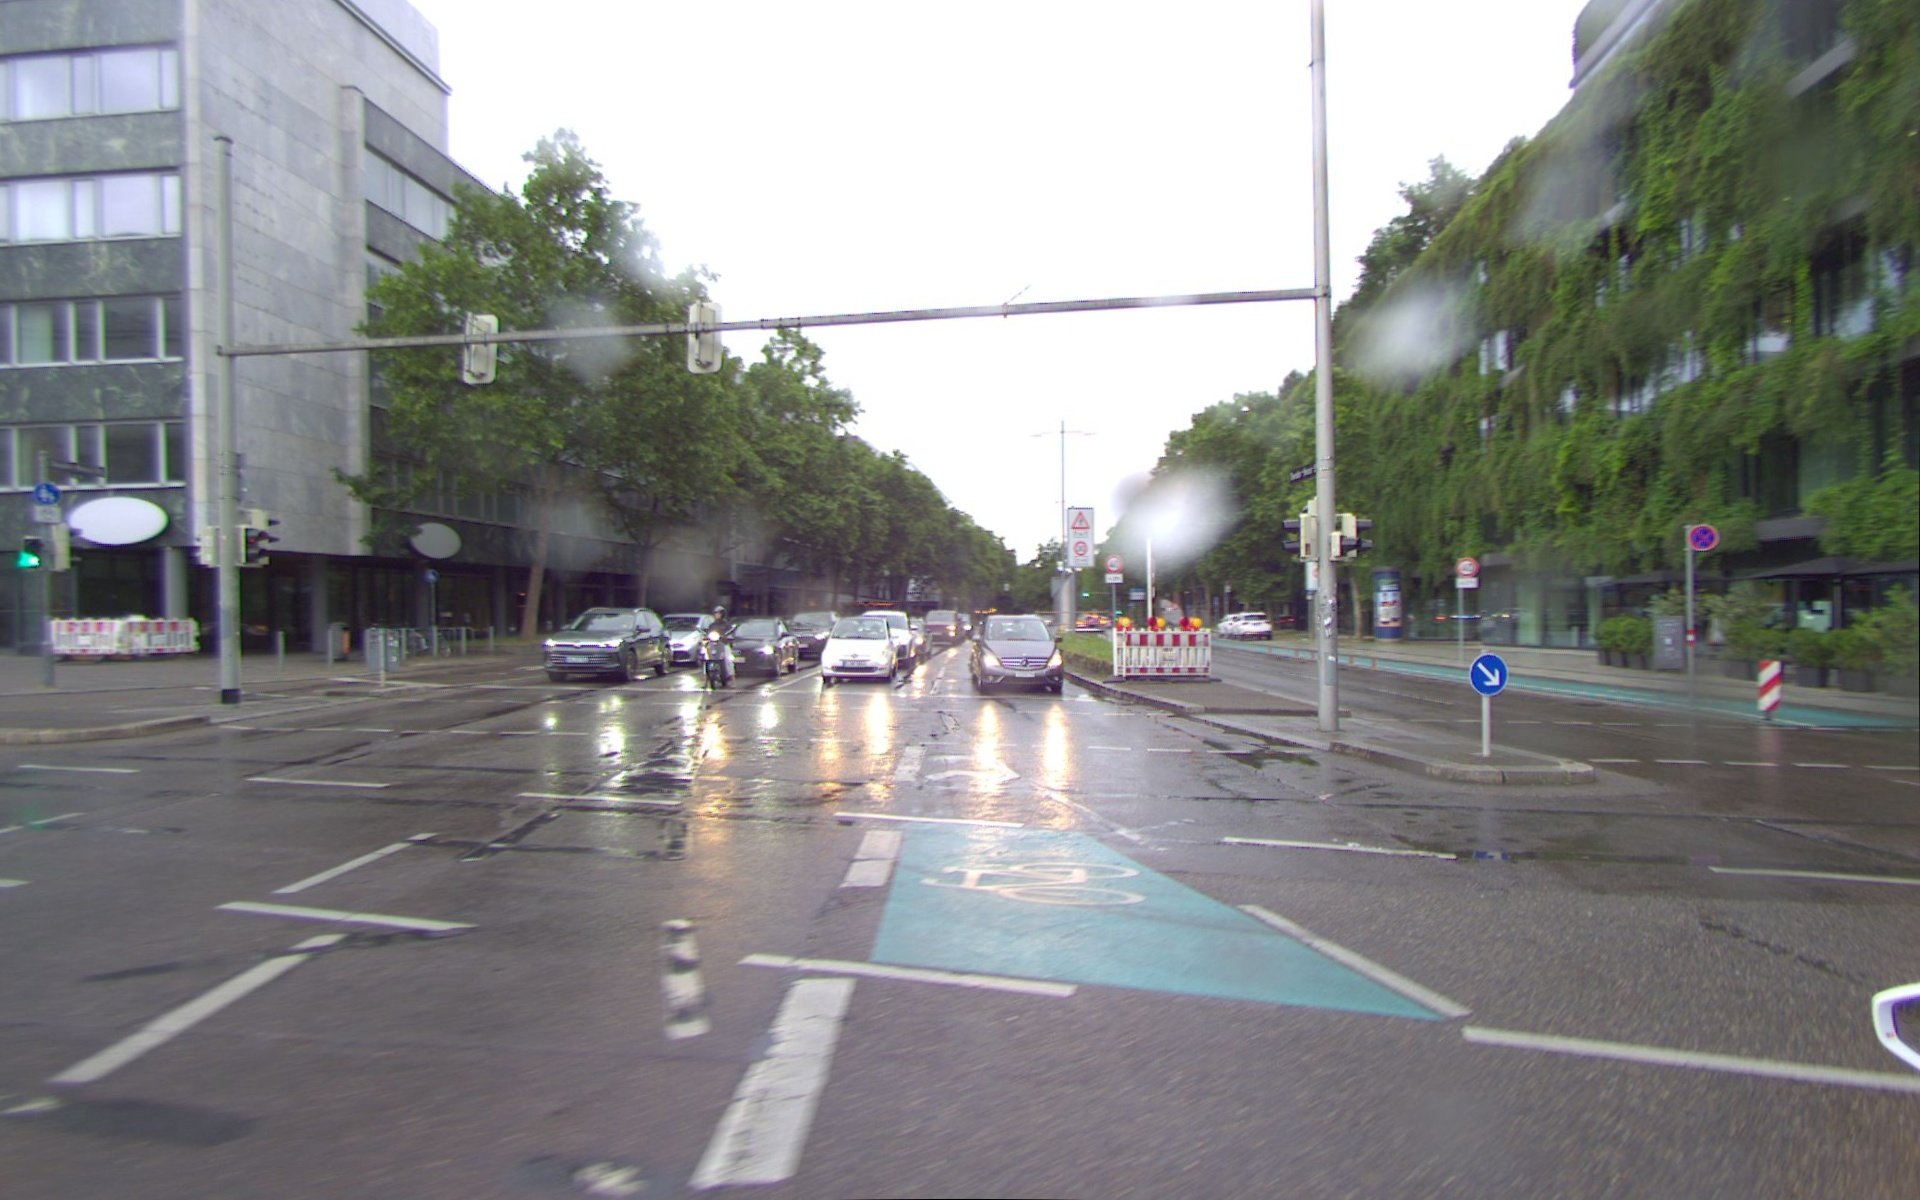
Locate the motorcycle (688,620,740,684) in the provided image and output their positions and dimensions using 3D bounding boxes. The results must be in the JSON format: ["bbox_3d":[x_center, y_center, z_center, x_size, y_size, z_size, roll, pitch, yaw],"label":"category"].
[{"bbox_3d":[-5.042,1.047,20.700,0.706,1.244,2.042,0,-1,-4],"label":"motorcycle"}]

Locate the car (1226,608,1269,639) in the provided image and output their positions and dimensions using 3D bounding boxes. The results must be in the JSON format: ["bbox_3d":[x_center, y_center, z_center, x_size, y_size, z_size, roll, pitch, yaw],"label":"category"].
[{"bbox_3d":[18.458,1.461,64.609,1.812,1.862,5.097,-2,-1,7],"label":"car"}]

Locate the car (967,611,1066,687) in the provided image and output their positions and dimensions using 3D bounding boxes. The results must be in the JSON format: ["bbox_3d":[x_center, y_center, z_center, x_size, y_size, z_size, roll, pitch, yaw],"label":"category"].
[{"bbox_3d":[1.134,0.989,21.988,1.813,1.501,4.163,0,0,-2],"label":"car"}]

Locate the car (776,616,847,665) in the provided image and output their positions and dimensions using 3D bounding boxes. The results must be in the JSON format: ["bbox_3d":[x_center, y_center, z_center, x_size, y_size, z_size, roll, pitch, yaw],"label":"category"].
[{"bbox_3d":[-5.086,1.363,34.793,1.723,1.586,4.001,0,-1,2],"label":"car"}]

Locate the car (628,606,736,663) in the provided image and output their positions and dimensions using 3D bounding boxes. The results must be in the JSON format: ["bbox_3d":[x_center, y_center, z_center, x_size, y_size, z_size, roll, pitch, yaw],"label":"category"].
[{"bbox_3d":[-8.427,1.030,30.857,1.960,1.625,4.589,0,-1,1],"label":"car"}]

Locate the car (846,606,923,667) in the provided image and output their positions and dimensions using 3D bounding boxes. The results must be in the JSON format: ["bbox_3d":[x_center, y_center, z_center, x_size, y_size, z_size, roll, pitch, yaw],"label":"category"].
[{"bbox_3d":[-2.190,1.037,30.518,1.845,1.707,4.799,0,0,1],"label":"car"}]

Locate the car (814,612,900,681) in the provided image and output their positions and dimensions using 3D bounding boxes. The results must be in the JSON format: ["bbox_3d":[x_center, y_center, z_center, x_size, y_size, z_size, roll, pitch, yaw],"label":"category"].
[{"bbox_3d":[-2.372,1.040,23.876,1.689,1.495,3.431,0,0,0],"label":"car"}]

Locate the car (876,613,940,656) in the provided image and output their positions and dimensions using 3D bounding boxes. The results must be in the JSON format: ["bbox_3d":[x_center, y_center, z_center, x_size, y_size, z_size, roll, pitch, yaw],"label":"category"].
[{"bbox_3d":[-1.830,1.210,36.956,1.812,1.470,4.918,0,-1,3],"label":"car"}]

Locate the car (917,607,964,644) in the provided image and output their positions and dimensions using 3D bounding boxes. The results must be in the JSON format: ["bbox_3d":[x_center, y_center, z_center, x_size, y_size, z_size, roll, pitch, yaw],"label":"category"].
[{"bbox_3d":[-0.953,1.285,51.393,1.804,1.790,5.111,0,0,6],"label":"car"}]

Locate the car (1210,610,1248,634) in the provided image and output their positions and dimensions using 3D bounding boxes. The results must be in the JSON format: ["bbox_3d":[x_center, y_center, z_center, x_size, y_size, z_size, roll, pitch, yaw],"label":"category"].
[{"bbox_3d":[18.923,1.526,70.829,1.812,1.654,4.788,0,0,5],"label":"car"}]

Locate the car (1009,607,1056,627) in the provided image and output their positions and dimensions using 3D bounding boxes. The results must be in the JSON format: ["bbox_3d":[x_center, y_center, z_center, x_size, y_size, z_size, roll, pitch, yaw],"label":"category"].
[{"bbox_3d":[6.722,1.565,93.474,1.987,1.813,4.182,1,-1,-44],"label":"car"}]

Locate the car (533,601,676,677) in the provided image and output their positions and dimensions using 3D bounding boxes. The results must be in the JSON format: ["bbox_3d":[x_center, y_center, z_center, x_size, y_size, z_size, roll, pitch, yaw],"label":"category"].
[{"bbox_3d":[-8.315,0.879,23.968,1.728,1.639,4.662,0,-1,1],"label":"car"}]

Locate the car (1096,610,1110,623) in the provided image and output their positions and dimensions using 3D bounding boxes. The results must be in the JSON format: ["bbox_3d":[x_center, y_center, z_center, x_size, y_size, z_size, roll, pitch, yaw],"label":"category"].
[{"bbox_3d":[19.121,2.224,134.767,1.593,1.688,4.002,-1,-1,5],"label":"car"}]

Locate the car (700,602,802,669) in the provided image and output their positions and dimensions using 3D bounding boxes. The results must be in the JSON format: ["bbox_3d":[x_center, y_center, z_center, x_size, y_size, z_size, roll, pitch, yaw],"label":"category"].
[{"bbox_3d":[-5.256,0.874,25.791,1.806,1.586,4.222,0,-1,-1],"label":"car"}]

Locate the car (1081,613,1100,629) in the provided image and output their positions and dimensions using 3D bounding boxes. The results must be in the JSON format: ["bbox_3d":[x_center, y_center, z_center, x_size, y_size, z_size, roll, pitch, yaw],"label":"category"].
[{"bbox_3d":[12.979,2.072,100.182,1.593,1.491,4.002,0,-1,3],"label":"car"}]

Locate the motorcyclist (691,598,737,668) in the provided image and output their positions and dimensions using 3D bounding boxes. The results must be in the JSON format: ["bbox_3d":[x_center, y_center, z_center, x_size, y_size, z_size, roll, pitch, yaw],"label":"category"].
[{"bbox_3d":[-5.027,0.669,20.552,0.774,1.410,0.733,1,0,-3],"label":"motorcyclist"}]

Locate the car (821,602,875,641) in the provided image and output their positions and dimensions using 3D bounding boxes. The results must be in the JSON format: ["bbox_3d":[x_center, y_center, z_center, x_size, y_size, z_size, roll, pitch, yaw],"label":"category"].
[{"bbox_3d":[-4.760,0.922,43.246,1.723,1.586,4.001,0,-1,2],"label":"car"}]

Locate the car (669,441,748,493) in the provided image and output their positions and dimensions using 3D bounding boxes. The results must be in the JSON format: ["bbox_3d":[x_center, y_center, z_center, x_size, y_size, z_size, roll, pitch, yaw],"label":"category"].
[{"bbox_3d":[-9.608,-5.078,38.686,1.960,1.405,3.979,0,-1,1],"label":"car"}]
